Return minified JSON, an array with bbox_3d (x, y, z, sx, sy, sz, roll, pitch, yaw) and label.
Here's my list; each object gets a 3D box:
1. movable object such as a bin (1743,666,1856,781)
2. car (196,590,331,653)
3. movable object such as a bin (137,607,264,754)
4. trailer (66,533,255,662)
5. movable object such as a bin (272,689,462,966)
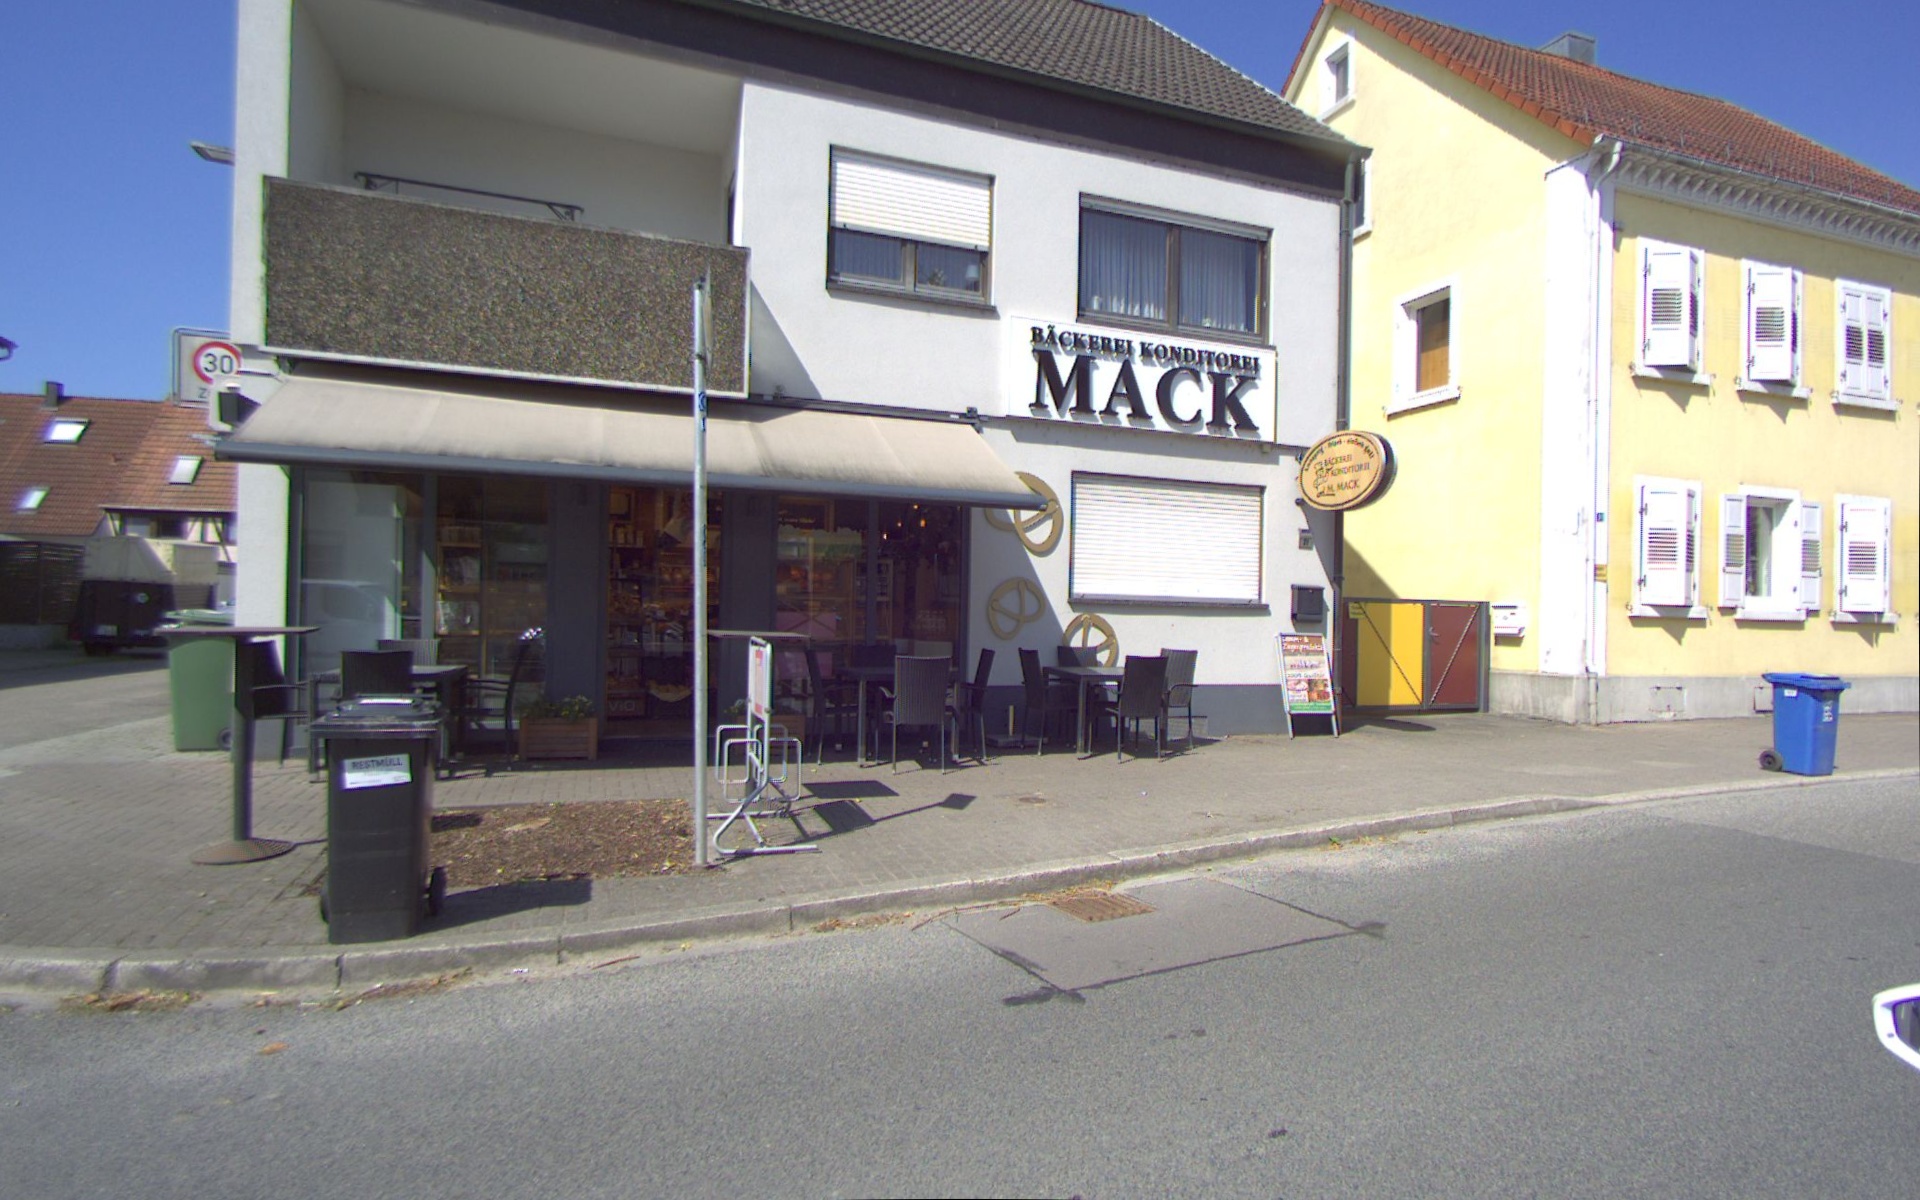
[{"bbox_3d":[7.968,1.150,9.544,0.606,0.994,0.640,1,0,-28],"label":"movable object such as a bin"},{"bbox_3d":[-20.249,0.605,29.413,1.967,1.706,3.987,1,-1,-15],"label":"car"},{"bbox_3d":[-6.245,0.640,8.291,0.635,1.153,0.671,1,0,-19],"label":"movable object such as a bin"},{"bbox_3d":[-18.719,-0.019,23.772,2.024,2.708,3.986,3,-1,-16],"label":"trailer"},{"bbox_3d":[-2.386,0.863,4.070,0.606,0.936,0.639,1,0,-31],"label":"movable object such as a bin"}]
